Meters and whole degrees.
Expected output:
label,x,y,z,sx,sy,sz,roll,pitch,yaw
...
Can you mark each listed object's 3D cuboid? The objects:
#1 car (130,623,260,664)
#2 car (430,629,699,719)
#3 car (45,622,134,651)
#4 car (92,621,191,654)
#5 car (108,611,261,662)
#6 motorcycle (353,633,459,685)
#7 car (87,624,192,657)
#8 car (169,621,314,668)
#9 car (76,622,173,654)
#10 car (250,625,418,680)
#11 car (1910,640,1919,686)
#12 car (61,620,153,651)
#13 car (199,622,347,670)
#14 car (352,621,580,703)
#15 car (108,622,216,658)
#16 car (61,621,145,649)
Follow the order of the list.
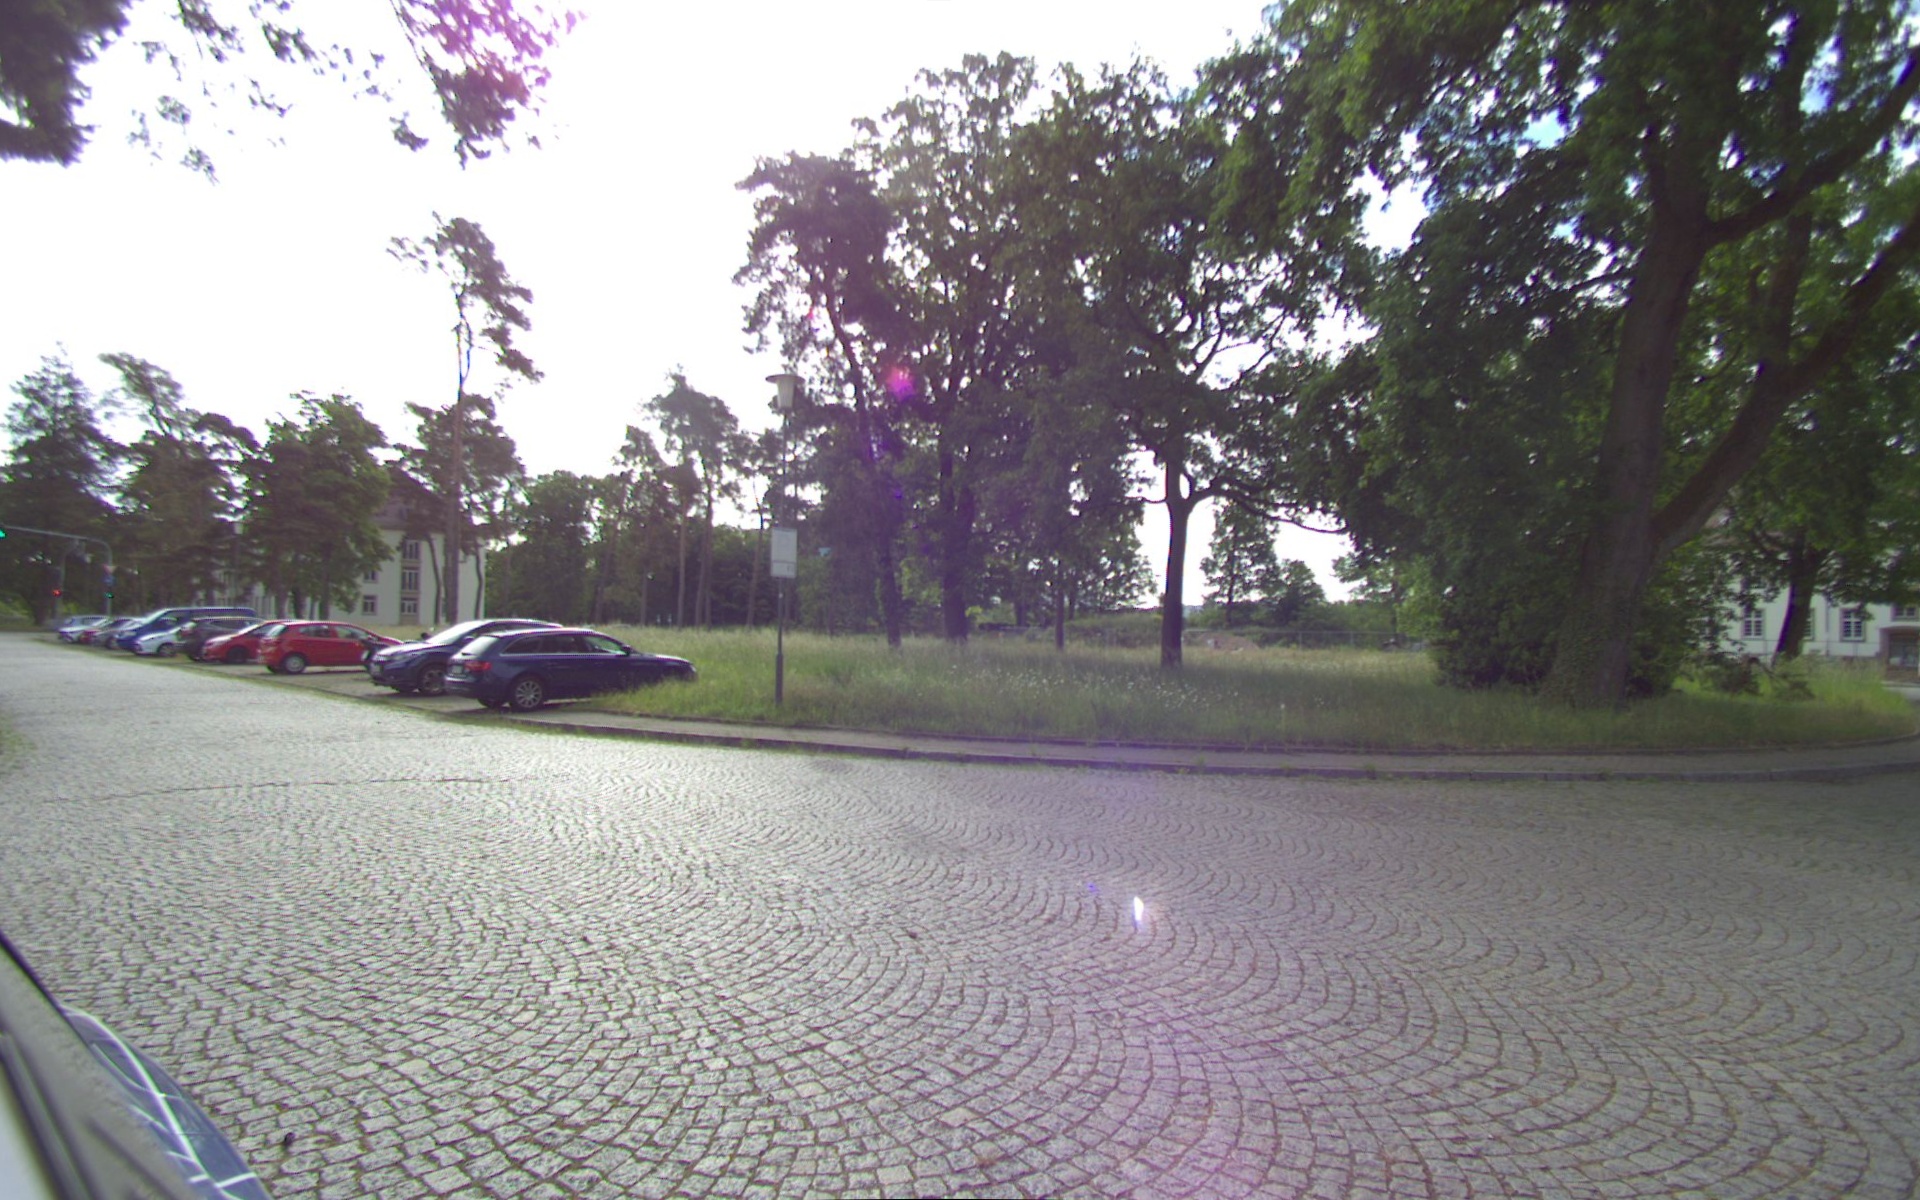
label,x,y,z,sx,sy,sz,roll,pitch,yaw
car,-30.589,1.695,40.556,1.742,1.403,3.879,0,1,40
car,-7.271,1.292,18.923,4.379,1.491,1.683,2,-2,-44
car,-48.376,2.005,56.277,1.625,1.469,3.526,0,1,40
car,-40.453,1.839,50.070,1.603,1.445,3.531,0,1,35
car,-32.434,1.475,42.455,2.160,1.880,4.771,0,1,40
motorcycle,-14.559,1.535,26.654,0.744,1.298,2.330,-1,-3,42
car,-38.700,1.890,47.778,1.615,1.431,3.558,0,0,35
car,-25.758,1.605,36.372,1.819,1.616,3.866,-1,-3,39
car,-42.569,1.902,51.641,1.635,1.427,3.531,0,1,35
car,-18.106,1.481,29.386,1.671,1.490,3.843,-1,-2,42
car,51.141,3.257,50.429,5.532,2.224,2.096,0,1,43
car,-46.020,1.862,54.645,1.599,1.498,3.532,0,1,34
car,-23.551,1.572,34.769,1.707,1.532,3.898,-2,-3,42
car,-10.729,1.299,22.208,1.789,1.585,4.095,0,-2,41
car,-36.433,1.784,46.287,1.684,1.465,3.558,0,1,35
car,-49.714,2.016,58.748,1.623,1.442,3.417,0,1,32
